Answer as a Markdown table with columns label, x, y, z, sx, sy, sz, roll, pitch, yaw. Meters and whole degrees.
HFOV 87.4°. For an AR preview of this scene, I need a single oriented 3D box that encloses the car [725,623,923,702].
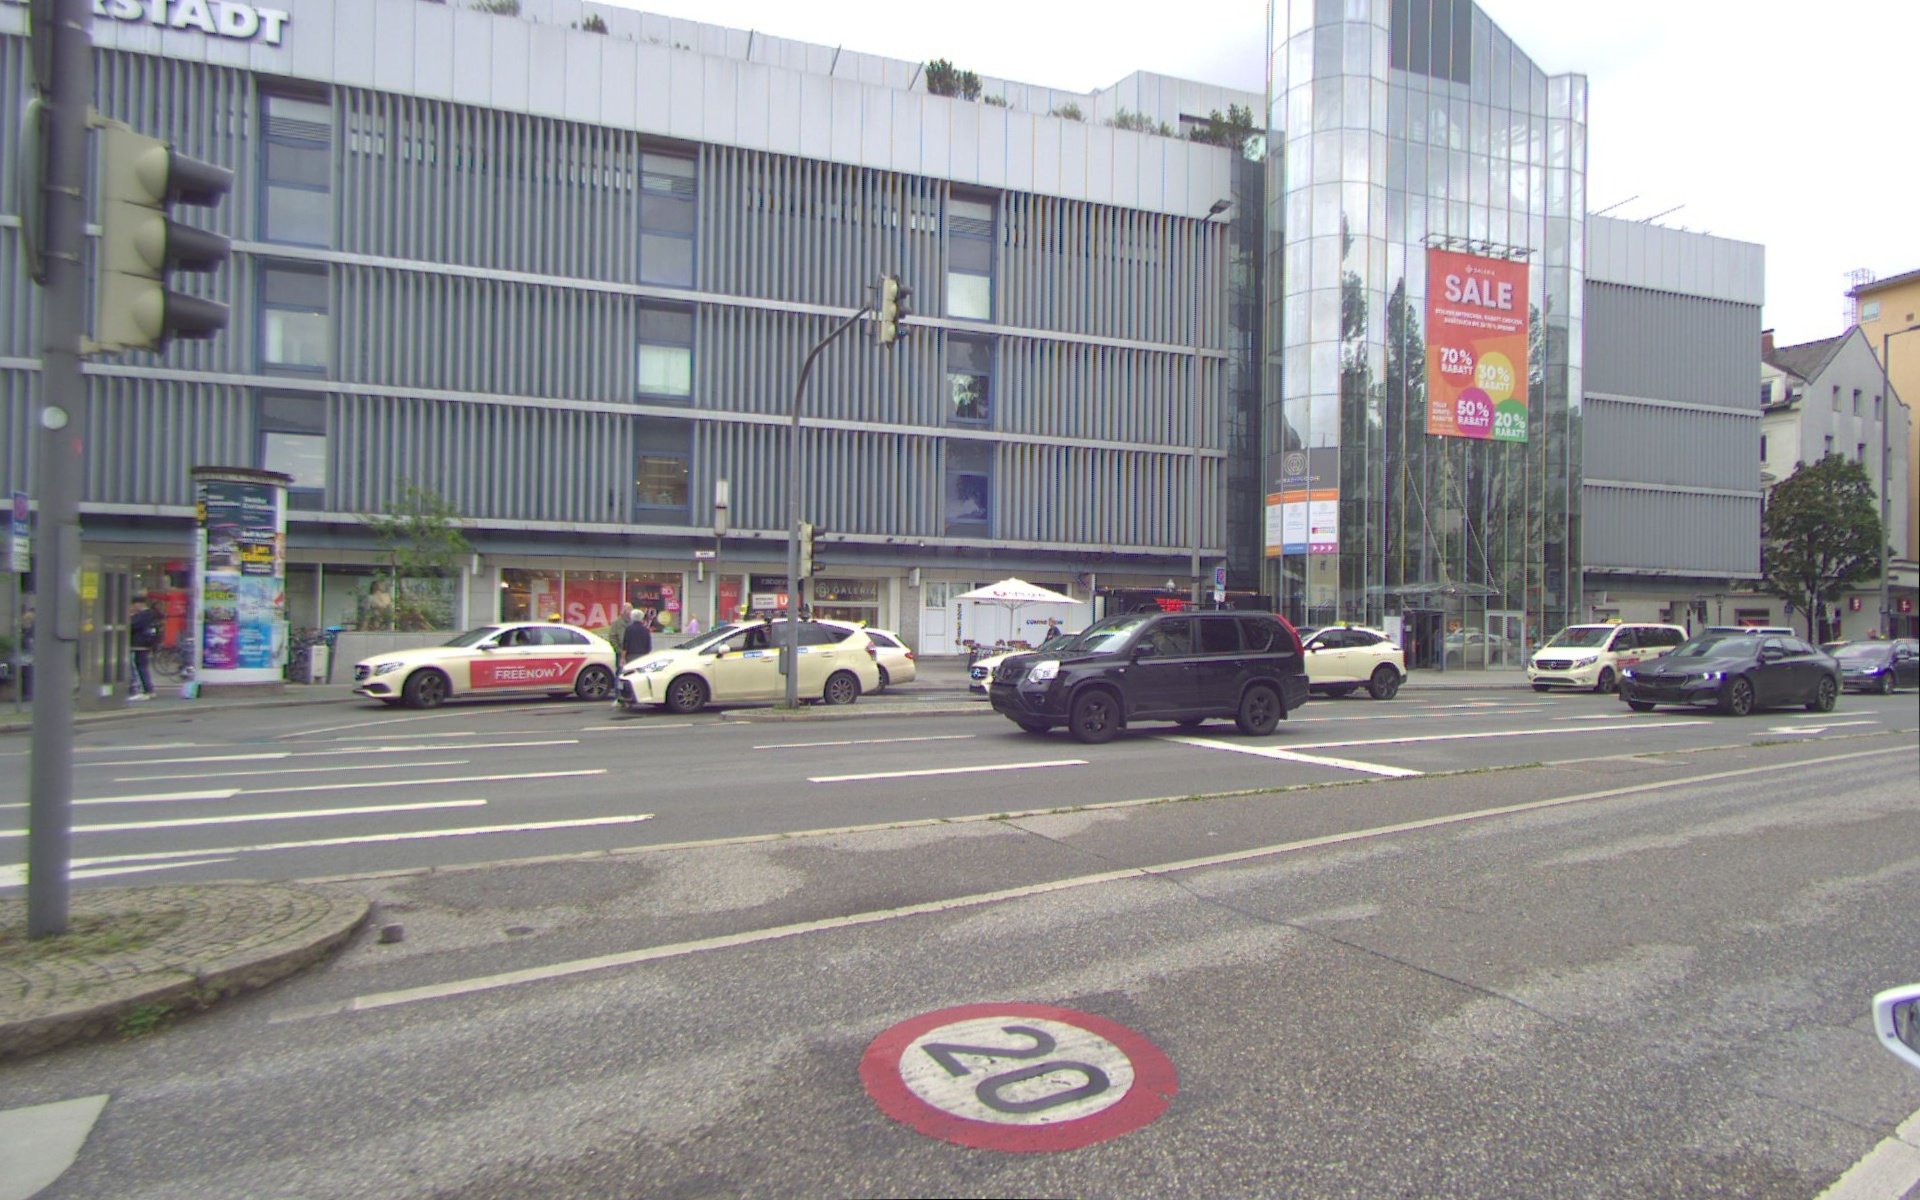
| label | x | y | z | sx | sy | sz | roll | pitch | yaw |
| --- | --- | --- | --- | --- | --- | --- | --- | --- | --- |
| car | -2.989 | 1.325 | 22.147 | 3.949 | 1.587 | 1.899 | 1 | -1 | -28 |

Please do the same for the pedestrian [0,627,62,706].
| label | x | y | z | sx | sy | sz | roll | pitch | yaw |
| --- | --- | --- | --- | --- | --- | --- | --- | --- | --- |
| pedestrian | -16.149 | 1.140 | 17.389 | 0.764 | 1.325 | 0.540 | 1 | -1 | -29 |

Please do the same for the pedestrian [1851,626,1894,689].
| label | x | y | z | sx | sy | sz | roll | pitch | yaw |
| --- | --- | --- | --- | --- | --- | --- | --- | --- | --- |
| pedestrian | 27.851 | 1.734 | 30.677 | 0.774 | 1.892 | 0.845 | 0 | -1 | 27 |

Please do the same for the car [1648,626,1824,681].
| label | x | y | z | sx | sy | sz | roll | pitch | yaw |
| --- | --- | --- | --- | --- | --- | --- | --- | --- | --- |
| car | 23.495 | 1.601 | 30.419 | 5.011 | 1.573 | 1.974 | 1 | -2 | -22 |

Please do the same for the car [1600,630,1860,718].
| label | x | y | z | sx | sy | sz | roll | pitch | yaw |
| --- | --- | --- | --- | --- | --- | --- | --- | --- | --- |
| car | 15.008 | 1.368 | 19.553 | 4.954 | 1.527 | 1.988 | 1 | -2 | -26 |

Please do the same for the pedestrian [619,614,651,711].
| label | x | y | z | sx | sy | sz | roll | pitch | yaw |
| --- | --- | --- | --- | --- | --- | --- | --- | --- | --- |
| pedestrian | -5.715 | 1.091 | 17.645 | 0.420 | 1.677 | 0.362 | 2 | 0 | -31 |

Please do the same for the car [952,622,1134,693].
| label | x | y | z | sx | sy | sz | roll | pitch | yaw |
| --- | --- | --- | --- | --- | --- | --- | --- | --- | --- |
| car | 1.953 | 1.330 | 23.735 | 3.942 | 1.557 | 1.749 | 1 | -2 | -22 |

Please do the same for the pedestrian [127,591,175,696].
| label | x | y | z | sx | sy | sz | roll | pitch | yaw |
| --- | --- | --- | --- | --- | --- | --- | --- | --- | --- |
| pedestrian | -14.260 | 0.758 | 17.710 | 0.504 | 1.802 | 0.559 | 2 | 0 | -27 |

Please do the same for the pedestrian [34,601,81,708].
| label | x | y | z | sx | sy | sz | roll | pitch | yaw |
| --- | --- | --- | --- | --- | --- | --- | --- | --- | --- |
| pedestrian | -14.800 | 0.879 | 16.478 | 0.454 | 1.722 | 0.428 | 2 | 0 | -31 |

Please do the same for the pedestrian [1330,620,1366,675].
| label | x | y | z | sx | sy | sz | roll | pitch | yaw |
| --- | --- | --- | --- | --- | --- | --- | --- | --- | --- |
| pedestrian | 13.096 | 1.597 | 33.923 | 0.805 | 1.829 | 0.788 | 1 | -1 | -18 |

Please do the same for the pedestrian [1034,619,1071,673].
| label | x | y | z | sx | sy | sz | roll | pitch | yaw |
| --- | --- | --- | --- | --- | --- | --- | --- | --- | --- |
| pedestrian | 2.727 | 1.355 | 29.676 | 0.884 | 1.566 | 0.731 | 1 | -1 | -17 |

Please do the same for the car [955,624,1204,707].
| label | x | y | z | sx | sy | sz | roll | pitch | yaw |
| --- | --- | --- | --- | --- | --- | --- | --- | --- | --- |
| car | 2.452 | 1.299 | 20.707 | 4.774 | 1.561 | 1.943 | 1 | -1 | -21 |

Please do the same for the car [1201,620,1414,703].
| label | x | y | z | sx | sy | sz | roll | pitch | yaw |
| --- | --- | --- | --- | --- | --- | --- | --- | --- | --- |
| car | 7.793 | 1.356 | 22.597 | 4.315 | 1.721 | 1.884 | 1 | -3 | -20 |

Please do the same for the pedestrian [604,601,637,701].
| label | x | y | z | sx | sy | sz | roll | pitch | yaw |
| --- | --- | --- | --- | --- | --- | --- | --- | --- | --- |
| pedestrian | -6.117 | 0.907 | 18.102 | 0.424 | 1.752 | 0.521 | 2 | 0 | -30 |

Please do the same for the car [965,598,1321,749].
| label | x | y | z | sx | sy | sz | roll | pitch | yaw |
| --- | --- | --- | --- | --- | --- | --- | --- | --- | --- |
| car | 2.527 | 0.932 | 13.839 | 4.535 | 1.801 | 1.989 | 1 | -1 | -24 |

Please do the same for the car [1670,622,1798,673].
| label | x | y | z | sx | sy | sz | roll | pitch | yaw |
| --- | --- | --- | --- | --- | --- | --- | --- | --- | --- |
| car | 32.577 | 1.961 | 42.290 | 5.036 | 2.040 | 1.990 | 1 | -1 | -21 |

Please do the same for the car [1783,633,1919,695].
| label | x | y | z | sx | sy | sz | roll | pitch | yaw |
| --- | --- | --- | --- | --- | --- | --- | --- | --- | --- |
| car | 25.138 | 1.711 | 27.627 | 4.881 | 1.567 | 1.954 | 1 | -2 | -25 |

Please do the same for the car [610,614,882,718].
| label | x | y | z | sx | sy | sz | roll | pitch | yaw |
| --- | --- | --- | --- | --- | --- | --- | --- | --- | --- |
| car | -3.706 | 1.110 | 17.670 | 4.425 | 1.633 | 1.579 | 1 | -2 | -31 |

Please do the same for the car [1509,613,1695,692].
| label | x | y | z | sx | sy | sz | roll | pitch | yaw |
| --- | --- | --- | --- | --- | --- | --- | --- | --- | --- |
| car | 17.847 | 1.439 | 27.876 | 5.254 | 2.040 | 1.986 | 1 | -2 | -28 |

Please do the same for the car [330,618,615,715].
| label | x | y | z | sx | sy | sz | roll | pitch | yaw |
| --- | --- | --- | --- | --- | --- | --- | --- | --- | --- |
| car | -8.663 | 1.114 | 18.088 | 4.270 | 1.530 | 1.835 | 2 | -2 | -45 |
